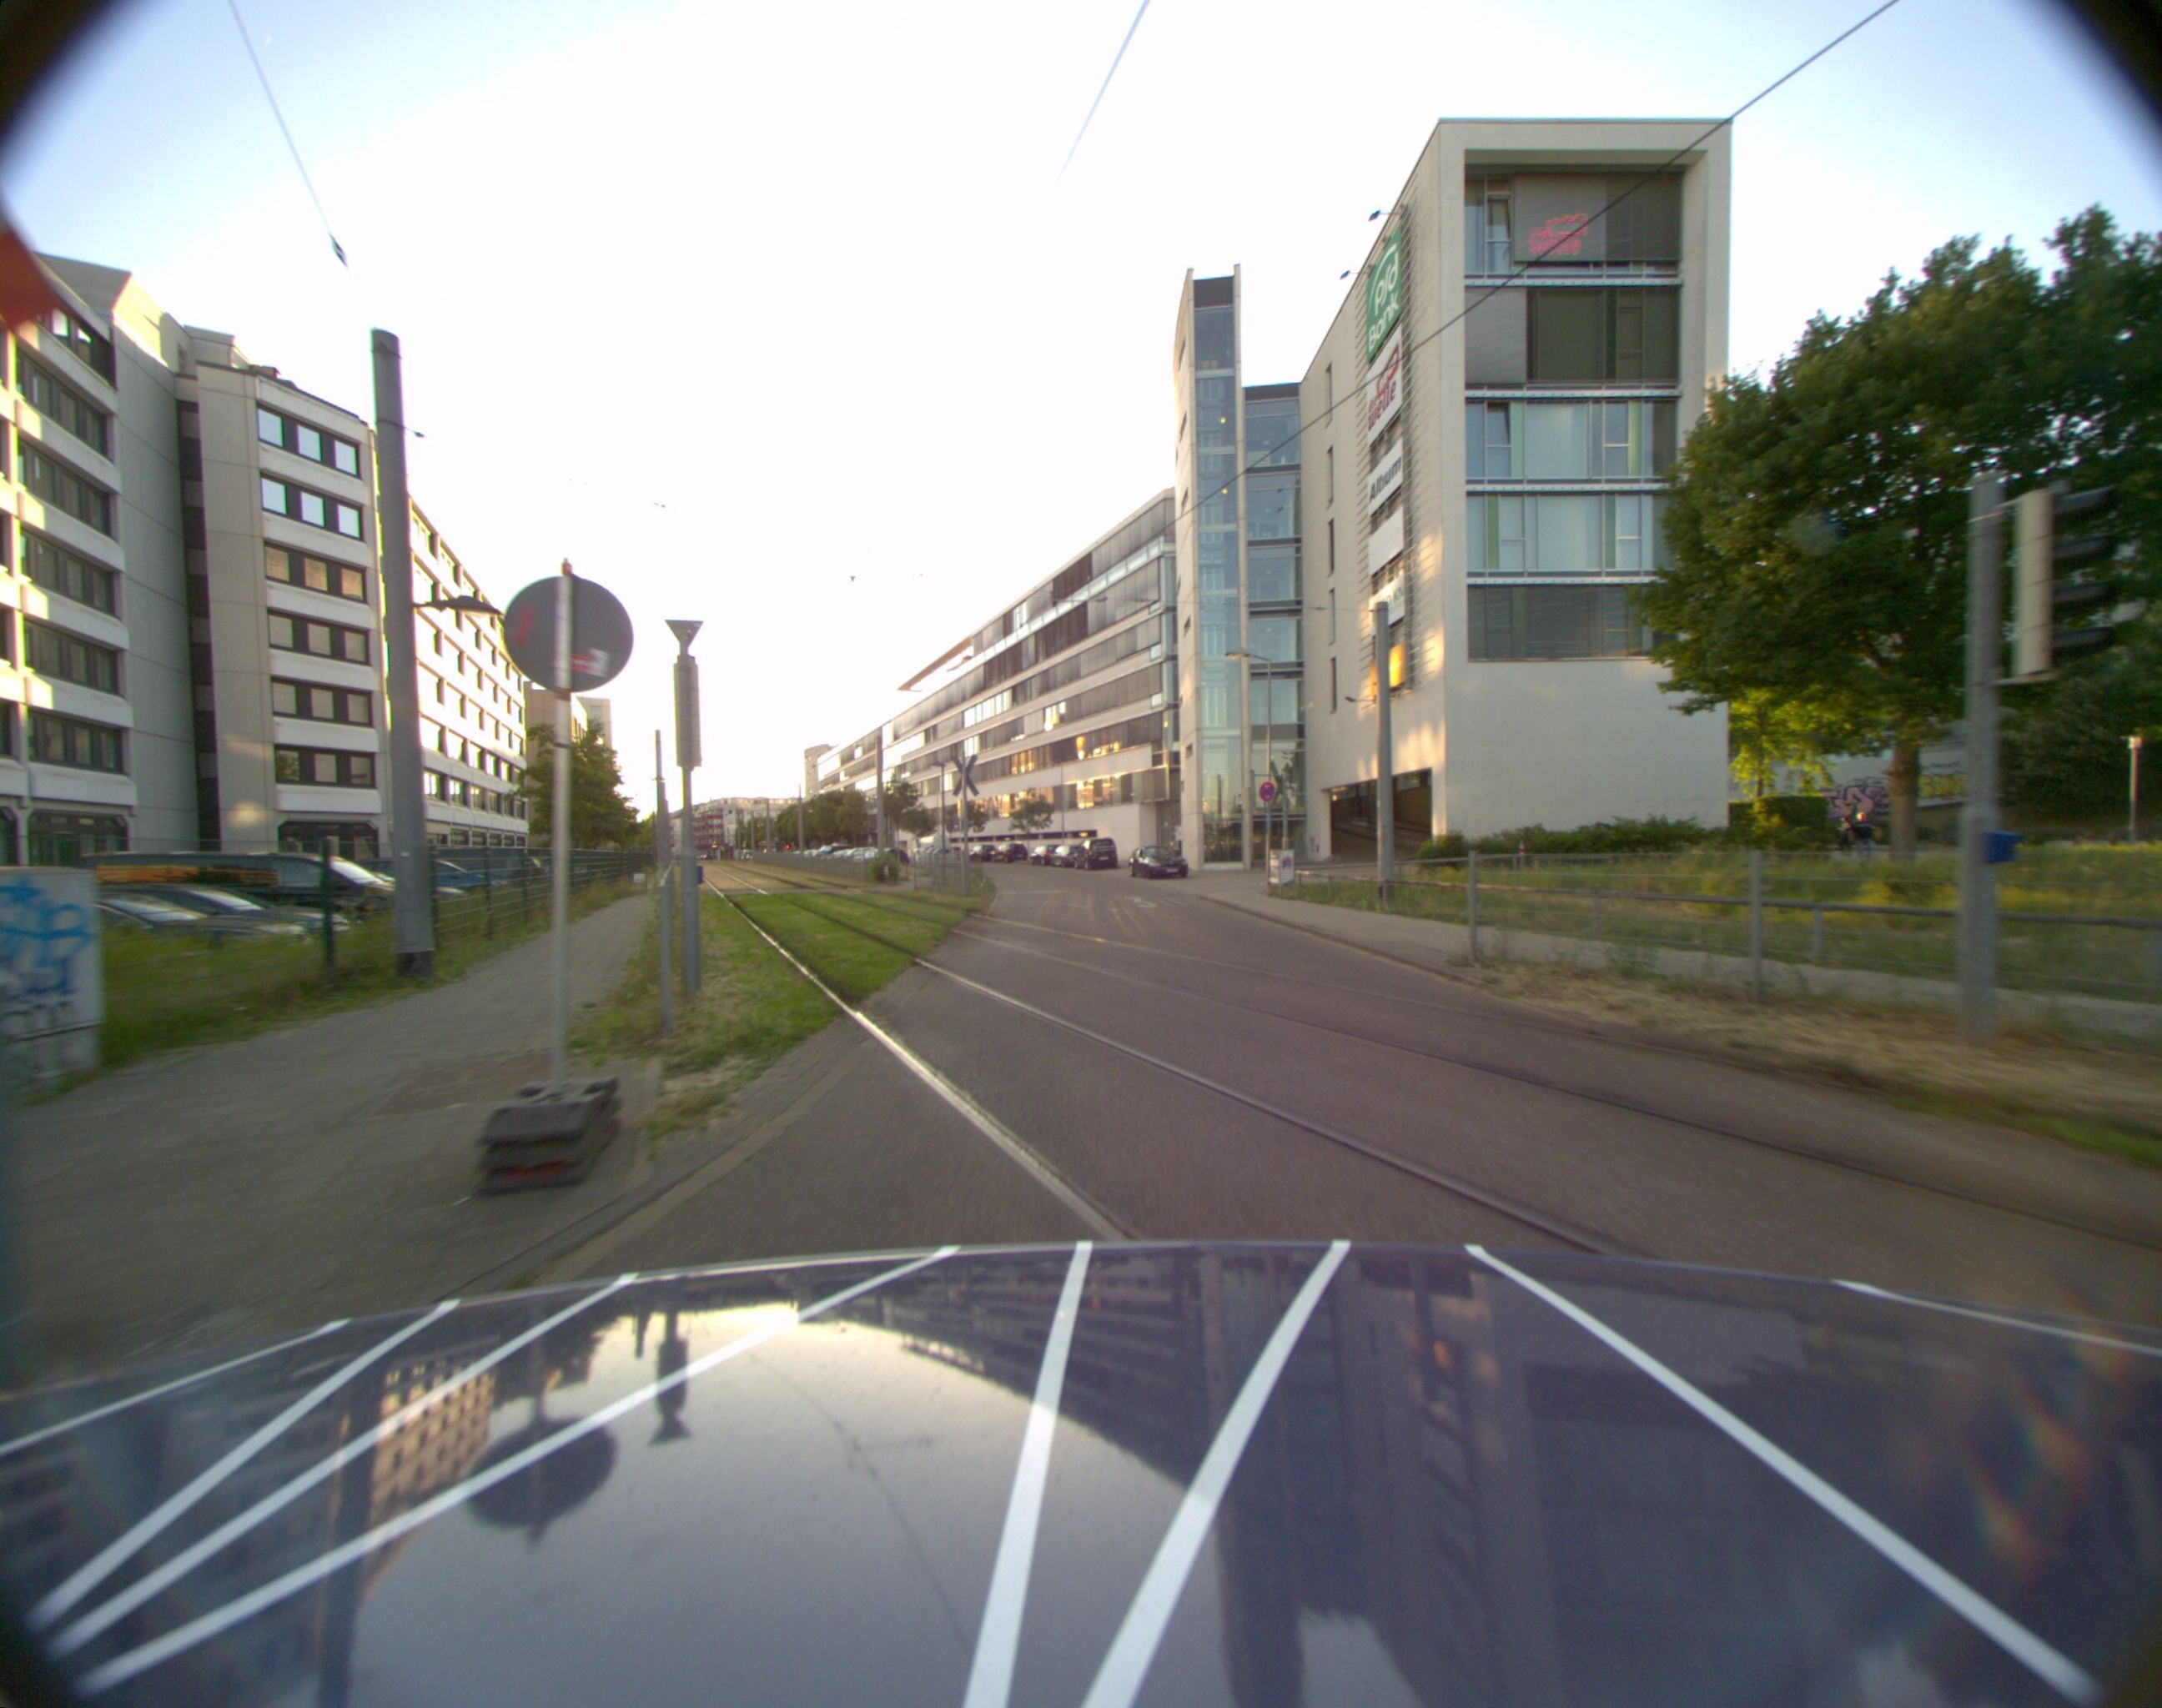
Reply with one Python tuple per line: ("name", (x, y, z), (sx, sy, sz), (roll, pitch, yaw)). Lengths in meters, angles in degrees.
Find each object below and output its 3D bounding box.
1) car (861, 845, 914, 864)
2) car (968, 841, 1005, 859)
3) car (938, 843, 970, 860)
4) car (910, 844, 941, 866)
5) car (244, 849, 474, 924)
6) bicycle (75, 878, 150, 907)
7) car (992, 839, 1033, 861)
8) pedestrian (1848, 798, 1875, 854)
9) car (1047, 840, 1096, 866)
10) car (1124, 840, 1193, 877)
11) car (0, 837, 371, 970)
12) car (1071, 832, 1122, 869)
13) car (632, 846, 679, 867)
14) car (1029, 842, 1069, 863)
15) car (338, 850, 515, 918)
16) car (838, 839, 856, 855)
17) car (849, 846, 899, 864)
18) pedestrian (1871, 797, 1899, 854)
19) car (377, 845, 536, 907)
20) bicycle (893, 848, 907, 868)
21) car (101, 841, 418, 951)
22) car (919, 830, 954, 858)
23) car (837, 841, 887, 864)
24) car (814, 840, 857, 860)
("car", (-14.807, 0.033, 58.332), (1.714, 1.368, 4.006), (-1, 1, 25))
("car", (-8.500, -0.362, 67.915), (1.800, 1.543, 3.990), (-4, 2, -30))
("car", (-12.626, -0.248, 75.376), (1.801, 1.692, 3.990), (-1, 1, -33))
("car", (-11.228, 0.032, 54.770), (1.633, 1.503, 3.411), (-1, 1, -21))
("car", (-19.177, 0.797, 20.464), (4.005, 1.740, 1.996), (-2, 1, -24))
("bicycle", (-35.150, 1.377, 27.615), (0.816, 0.945, 2.209), (-2, 1, -28))
("car", (-5.664, -0.353, 62.248), (1.800, 1.677, 3.990), (-2, 2, -30))
("pedestrian", (26.069, -0.921, 25.388), (0.450, 1.826, 0.482), (-4, 2, -22))
("car", (-0.674, -0.078, 49.524), (1.868, 1.469, 4.512), (-4, 2, -18))
("car", (3.359, 0.164, 33.790), (1.859, 1.434, 4.223), (-4, 1, -11))
("car", (-15.624, 0.750, 13.426), (4.004, 2.002, 1.996), (-2, 1, -24))
("car", (0.848, -0.216, 44.879), (1.896, 1.961, 4.512), (-4, 1, -12))
("car", (-42.606, 0.248, 76.190), (4.006, 2.002, 1.995), (-2, 1, -30))
("car", (-2.316, -0.127, 54.180), (1.655, 1.468, 3.759), (-1, 1, -21))
("car", (-21.478, 0.912, 25.171), (4.005, 2.002, 1.995), (-2, 1, -26))
("car", (-39.012, -1.242, 126.660), (2.003, 2.571, 3.990), (-2, 2, -29))
("car", (-16.873, 0.044, 62.053), (1.714, 1.368, 4.006), (-1, 1, 25))
("pedestrian", (26.420, -0.930, 24.969), (0.438, 1.826, 0.482), (-4, 2, -22))
("car", (-22.398, 0.727, 27.465), (4.005, 2.002, 1.995), (-2, 2, -26))
("bicycle", (-10.779, 0.237, 45.226), (0.542, 1.128, 1.924), (-2, 1, -6))
("car", (-16.988, 0.775, 16.048), (4.004, 2.002, 1.996), (-2, 1, -24))
("car", (-15.397, -1.068, 80.567), (2.008, 2.859, 6.241), (-1, 1, -27))
("car", (-18.390, -0.152, 63.912), (1.713, 1.746, 4.006), (-1, 1, 27))
("car", (-24.953, -0.438, 77.370), (1.713, 1.948, 4.180), (-1, 1, 27))
